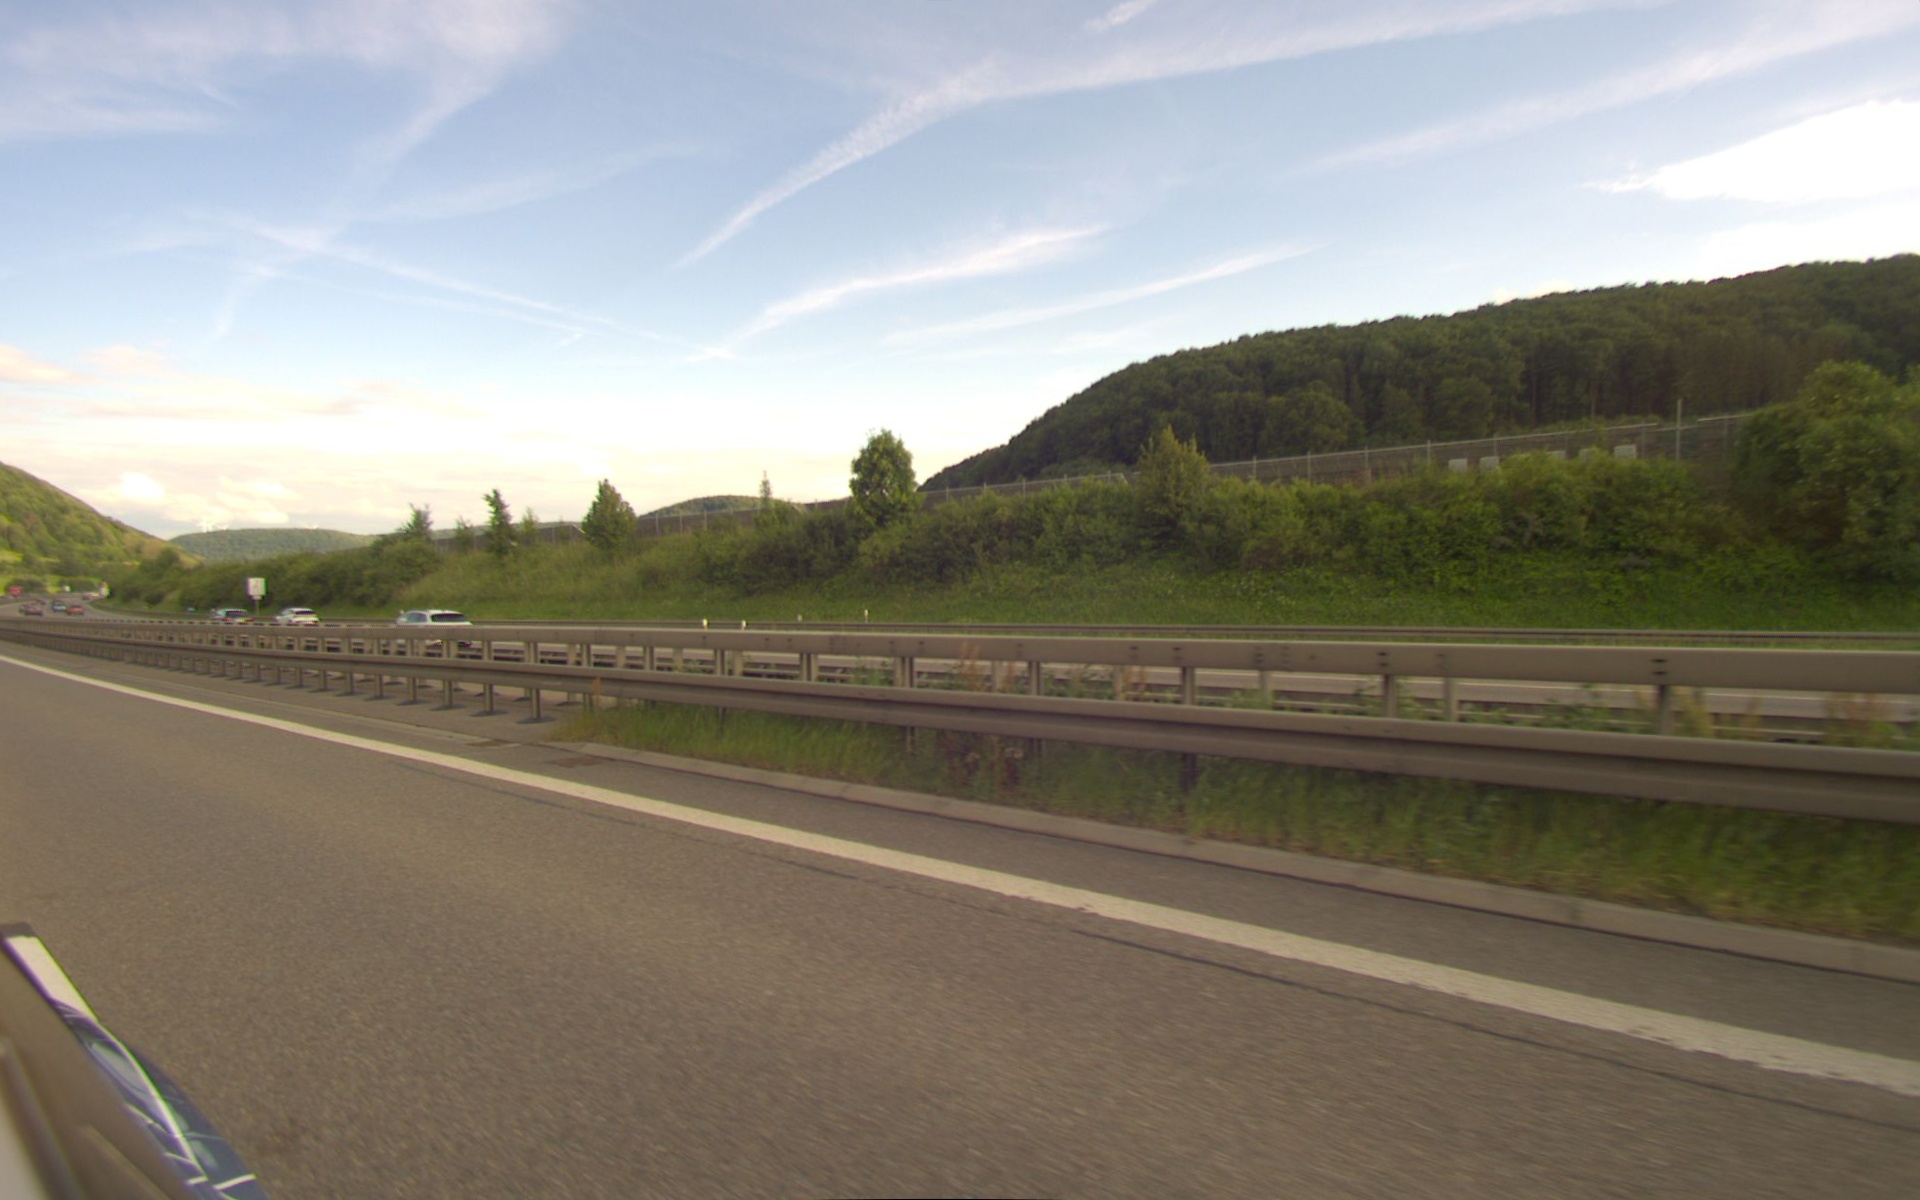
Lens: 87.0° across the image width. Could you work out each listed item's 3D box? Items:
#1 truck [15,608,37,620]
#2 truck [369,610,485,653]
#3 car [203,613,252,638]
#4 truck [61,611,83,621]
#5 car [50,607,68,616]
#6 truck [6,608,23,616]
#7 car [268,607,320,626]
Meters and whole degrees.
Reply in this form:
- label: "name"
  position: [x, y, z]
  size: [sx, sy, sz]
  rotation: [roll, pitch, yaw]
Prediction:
- label: "truck"
  position: [-126.826, 1.895, 137.433]
  size: [1.970, 1.606, 4.849]
  rotation: [2, -2, -45]
- label: "truck"
  position: [-18.779, 1.073, 35.580]
  size: [4.641, 1.375, 1.974]
  rotation: [-1, -1, 39]
- label: "car"
  position: [-47.407, 1.645, 65.464]
  size: [1.971, 1.497, 4.002]
  rotation: [-1, -1, -45]
- label: "truck"
  position: [-128.633, 2.351, 146.598]
  size: [3.946, 1.364, 1.972]
  rotation: [-1, -2, 43]
- label: "car"
  position: [-152.233, 1.990, 170.985]
  size: [4.356, 1.363, 1.972]
  rotation: [0, 2, 44]
- label: "truck"
  position: [-154.346, 2.017, 165.186]
  size: [1.969, 1.231, 4.005]
  rotation: [2, -2, -42]
- label: "car"
  position: [-49.146, 1.225, 74.683]
  size: [4.373, 1.368, 1.744]
  rotation: [-1, -1, 35]
